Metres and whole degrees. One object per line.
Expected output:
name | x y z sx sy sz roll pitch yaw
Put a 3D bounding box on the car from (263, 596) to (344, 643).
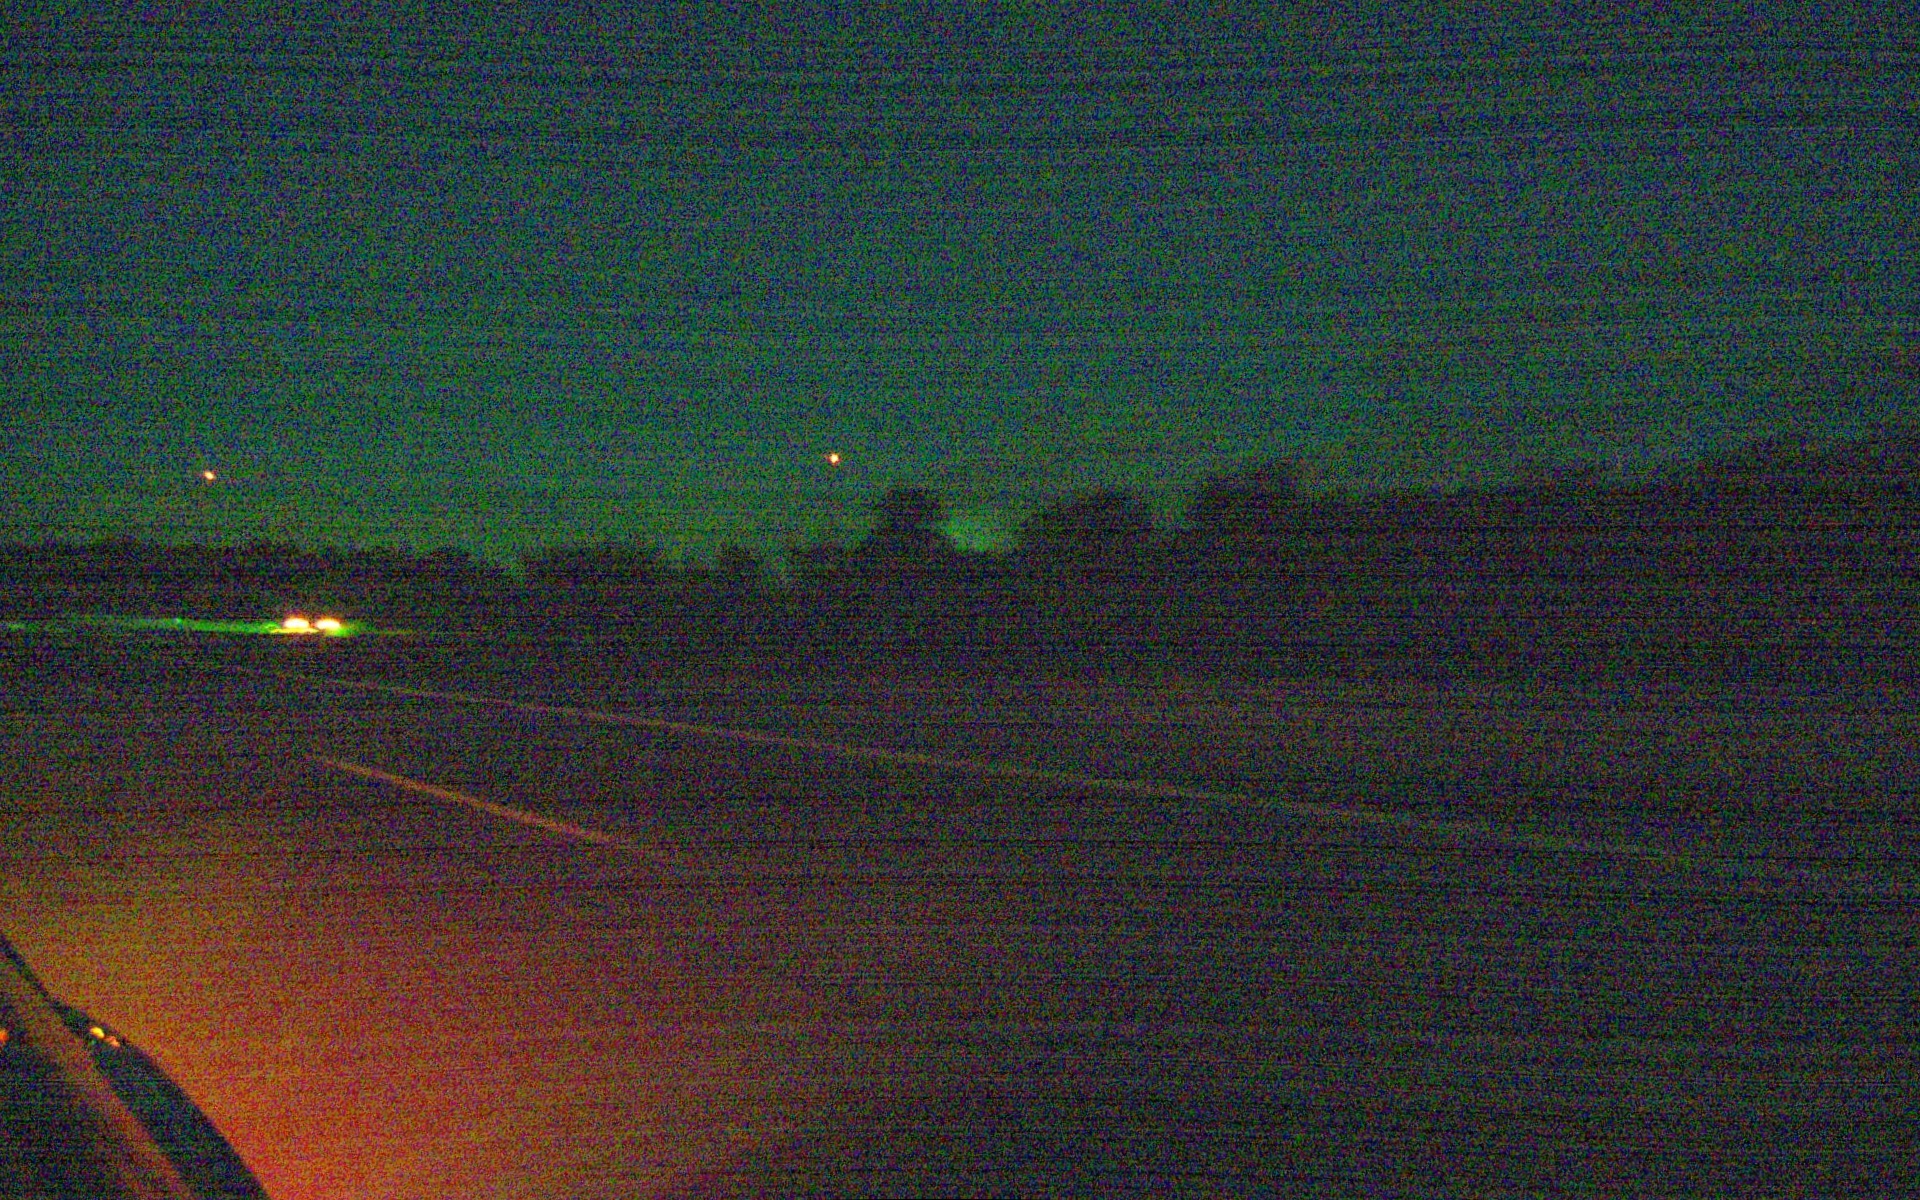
car | -43.700 1.244 67.313 6.599 2.959 2.817 0 0 41
